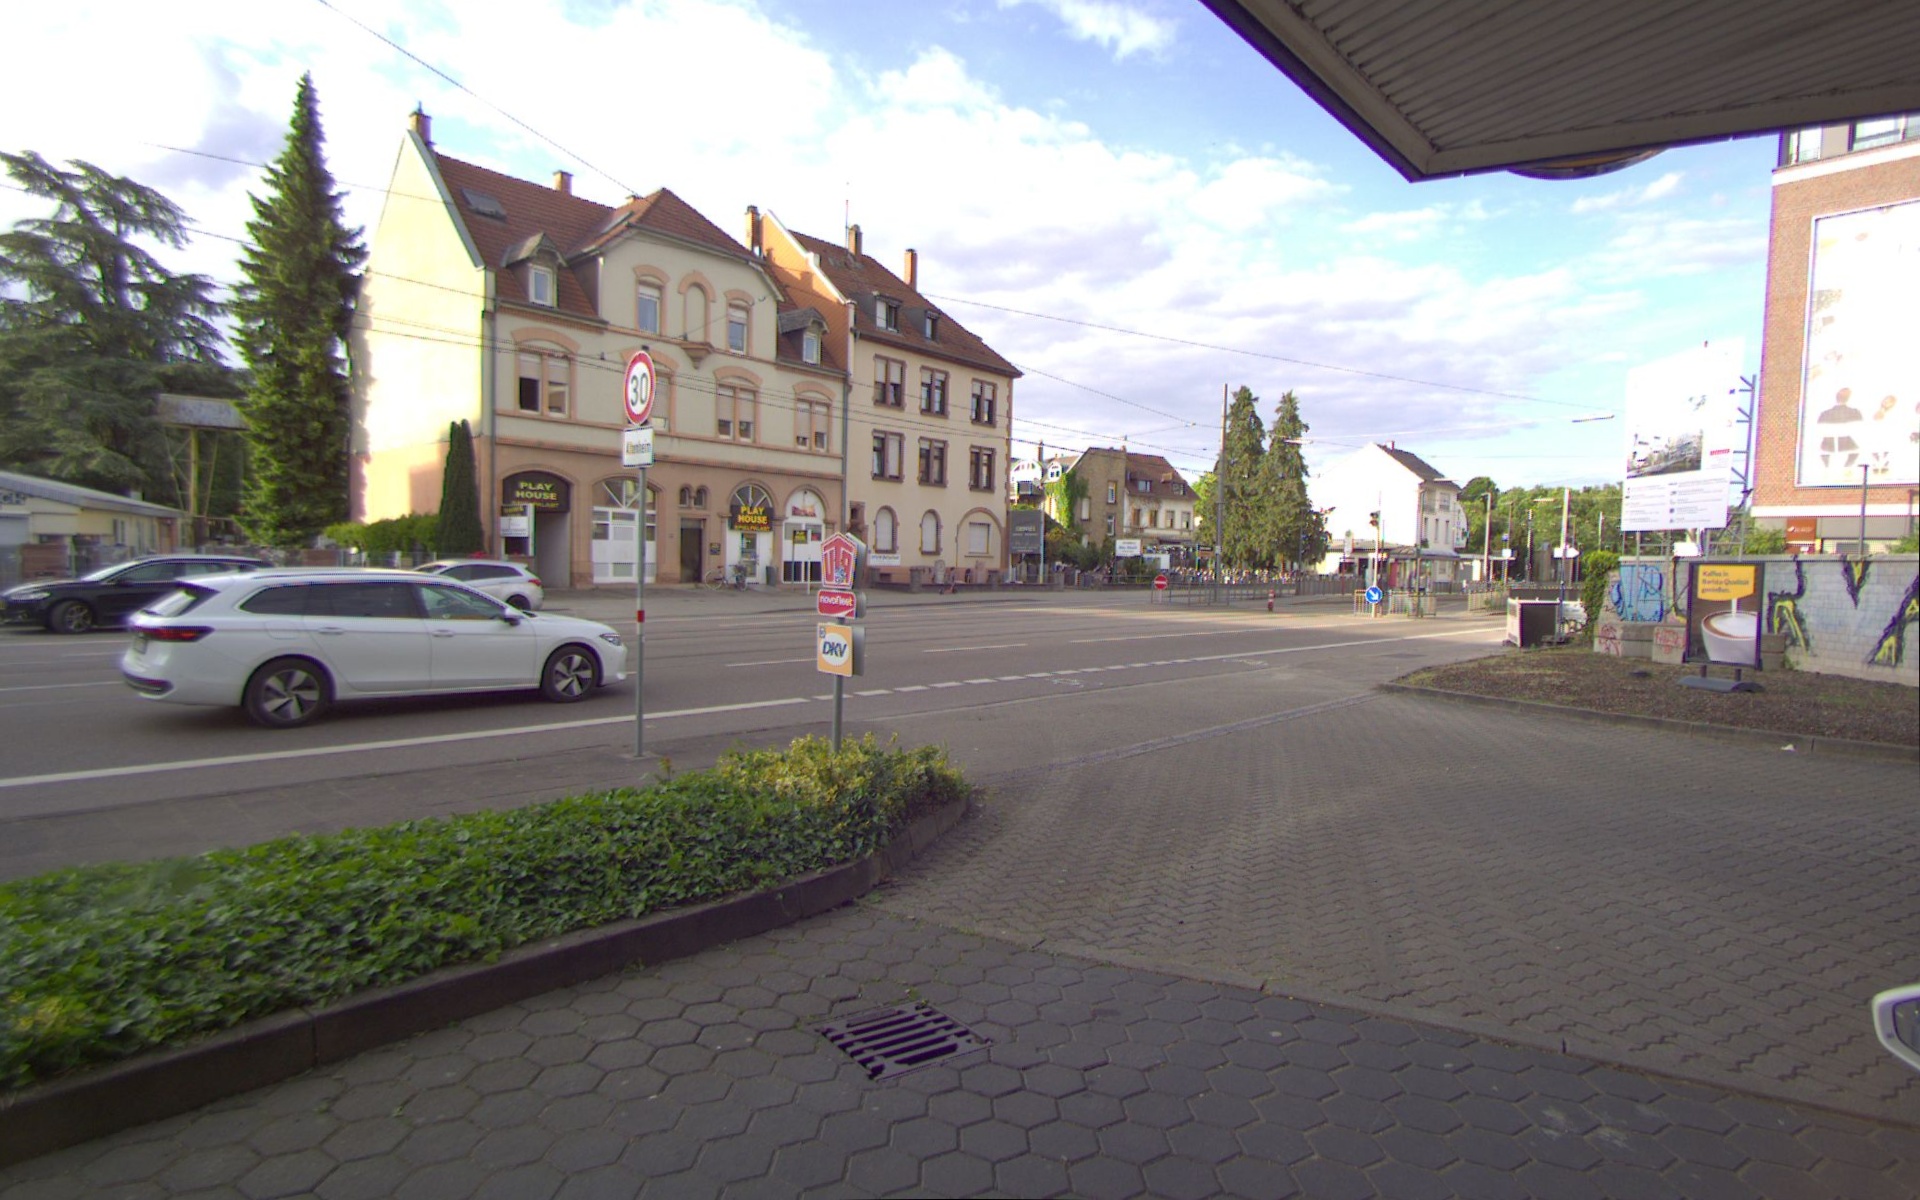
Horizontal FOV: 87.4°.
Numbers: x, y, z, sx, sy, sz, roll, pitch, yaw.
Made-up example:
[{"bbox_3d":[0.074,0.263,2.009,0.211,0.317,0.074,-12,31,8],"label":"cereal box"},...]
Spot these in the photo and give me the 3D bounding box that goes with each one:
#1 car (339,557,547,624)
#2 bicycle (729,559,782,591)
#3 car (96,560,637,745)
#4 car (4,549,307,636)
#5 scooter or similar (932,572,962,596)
[{"bbox_3d":[-12.932,-0.253,25.347,1.718,1.502,4.357,3,2,41],"label":"car"},{"bbox_3d":[-8.252,-1.006,40.619,0.741,1.219,2.011,8,5,41],"label":"bicycle"},{"bbox_3d":[-6.223,0.425,11.046,1.837,1.529,4.801,5,3,42],"label":"car"},{"bbox_3d":[-16.490,-0.176,20.809,1.827,1.542,4.642,5,4,40],"label":"car"},{"bbox_3d":[-0.570,-0.720,45.085,0.437,1.006,1.460,6,5,41],"label":"scooter or similar"}]
